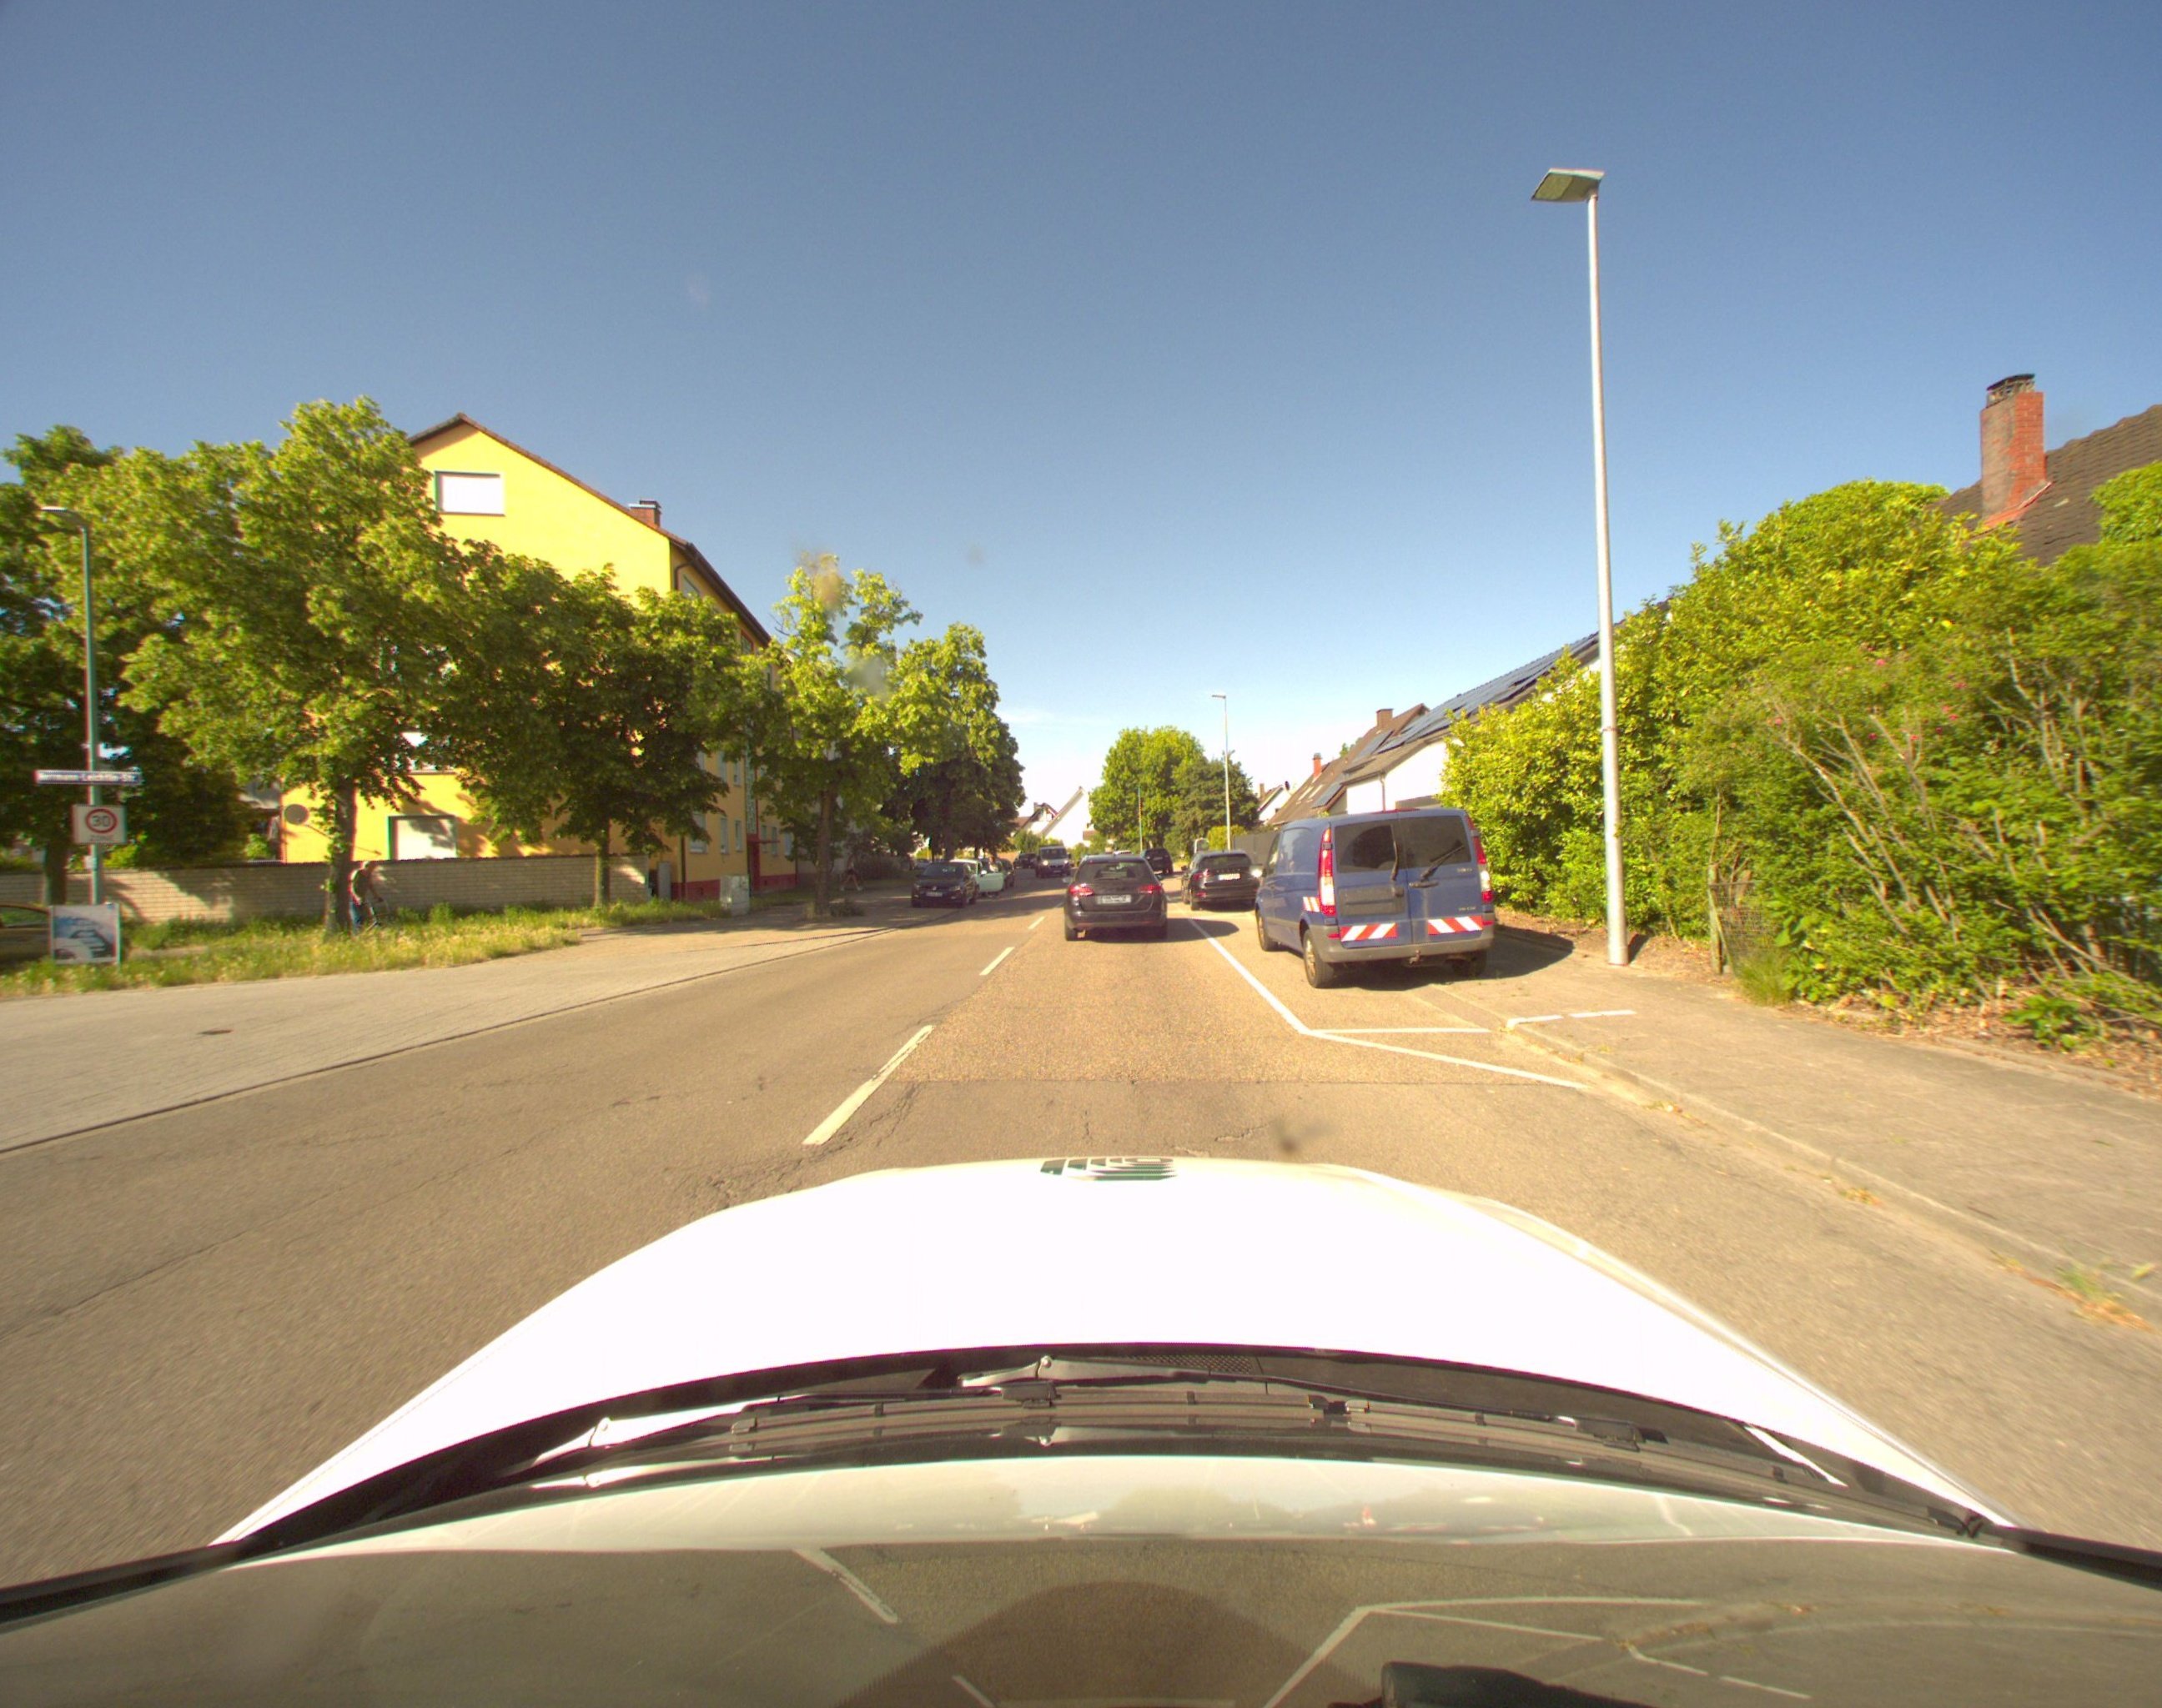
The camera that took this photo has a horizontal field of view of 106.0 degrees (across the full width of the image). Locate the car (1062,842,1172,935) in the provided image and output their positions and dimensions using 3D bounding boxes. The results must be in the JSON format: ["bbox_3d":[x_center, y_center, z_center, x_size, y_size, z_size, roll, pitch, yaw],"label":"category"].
[{"bbox_3d":[0.667,0.578,15.239,1.755,1.491,4.293,0,-1,2],"label":"car"}]

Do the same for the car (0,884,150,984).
[{"bbox_3d":[-17.920,1.322,13.155,1.729,1.464,3.867,-1,1,-11],"label":"car"}]

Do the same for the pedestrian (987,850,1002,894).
[{"bbox_3d":[-3.532,0.735,33.227,0.503,1.761,0.694,-1,-2,-2],"label":"pedestrian"}]

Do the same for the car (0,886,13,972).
[{"bbox_3d":[-21.003,1.448,13.623,1.700,1.622,3.864,-1,0,-13],"label":"car"}]

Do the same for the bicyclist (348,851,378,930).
[{"bbox_3d":[-15.485,0.783,17.564,0.391,1.686,0.378,0,-3,-30],"label":"bicyclist"}]

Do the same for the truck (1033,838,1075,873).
[{"bbox_3d":[-1.881,0.136,58.484,2.119,2.334,6.452,-2,0,5],"label":"truck"}]

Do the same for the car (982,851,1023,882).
[{"bbox_3d":[-4.256,0.664,44.746,1.561,1.530,3.922,3,0,3],"label":"car"}]

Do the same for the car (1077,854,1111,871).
[{"bbox_3d":[1.137,0.785,74.225,2.008,1.475,4.274,-1,-1,-14],"label":"car"}]

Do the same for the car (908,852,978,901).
[{"bbox_3d":[-4.523,0.761,27.250,1.695,1.480,4.050,1,-2,-1],"label":"car"}]

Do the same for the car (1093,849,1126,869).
[{"bbox_3d":[2.380,0.428,68.900,1.912,1.600,4.277,-1,-1,-11],"label":"car"}]

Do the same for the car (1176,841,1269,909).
[{"bbox_3d":[3.527,0.467,21.124,1.758,1.480,4.995,-2,0,3],"label":"car"}]

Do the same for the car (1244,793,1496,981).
[{"bbox_3d":[3.396,0.341,10.621,1.829,1.907,4.701,0,0,3],"label":"car"}]

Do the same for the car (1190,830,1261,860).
[{"bbox_3d":[10.230,-0.592,57.899,4.662,1.984,2.144,-1,-1,2],"label":"car"}]

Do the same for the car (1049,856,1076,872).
[{"bbox_3d":[-1.930,1.026,83.195,1.823,1.534,4.237,-1,-1,-14],"label":"car"}]

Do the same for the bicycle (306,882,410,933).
[{"bbox_3d":[-15.522,1.131,17.521,1.627,1.011,0.402,0,0,-30],"label":"bicycle"}]

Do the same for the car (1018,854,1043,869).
[{"bbox_3d":[-5.844,0.906,93.821,1.907,1.666,4.168,-1,-1,-16],"label":"car"}]

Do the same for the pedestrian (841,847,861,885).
[{"bbox_3d":[-10.796,0.564,38.189,0.683,1.718,0.720,-1,-2,1],"label":"pedestrian"}]

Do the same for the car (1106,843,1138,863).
[{"bbox_3d":[3.197,-0.050,64.219,1.759,1.480,4.282,-1,-1,-8],"label":"car"}]

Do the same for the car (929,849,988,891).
[{"bbox_3d":[-4.849,0.673,32.820,1.695,1.523,4.051,-2,-2,0],"label":"car"}]

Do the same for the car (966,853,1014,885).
[{"bbox_3d":[-4.416,0.723,39.938,1.650,1.510,4.004,0,-1,4],"label":"car"}]

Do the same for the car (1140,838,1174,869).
[{"bbox_3d":[4.470,-0.004,48.307,1.771,1.724,4.297,-1,-1,2],"label":"car"}]
